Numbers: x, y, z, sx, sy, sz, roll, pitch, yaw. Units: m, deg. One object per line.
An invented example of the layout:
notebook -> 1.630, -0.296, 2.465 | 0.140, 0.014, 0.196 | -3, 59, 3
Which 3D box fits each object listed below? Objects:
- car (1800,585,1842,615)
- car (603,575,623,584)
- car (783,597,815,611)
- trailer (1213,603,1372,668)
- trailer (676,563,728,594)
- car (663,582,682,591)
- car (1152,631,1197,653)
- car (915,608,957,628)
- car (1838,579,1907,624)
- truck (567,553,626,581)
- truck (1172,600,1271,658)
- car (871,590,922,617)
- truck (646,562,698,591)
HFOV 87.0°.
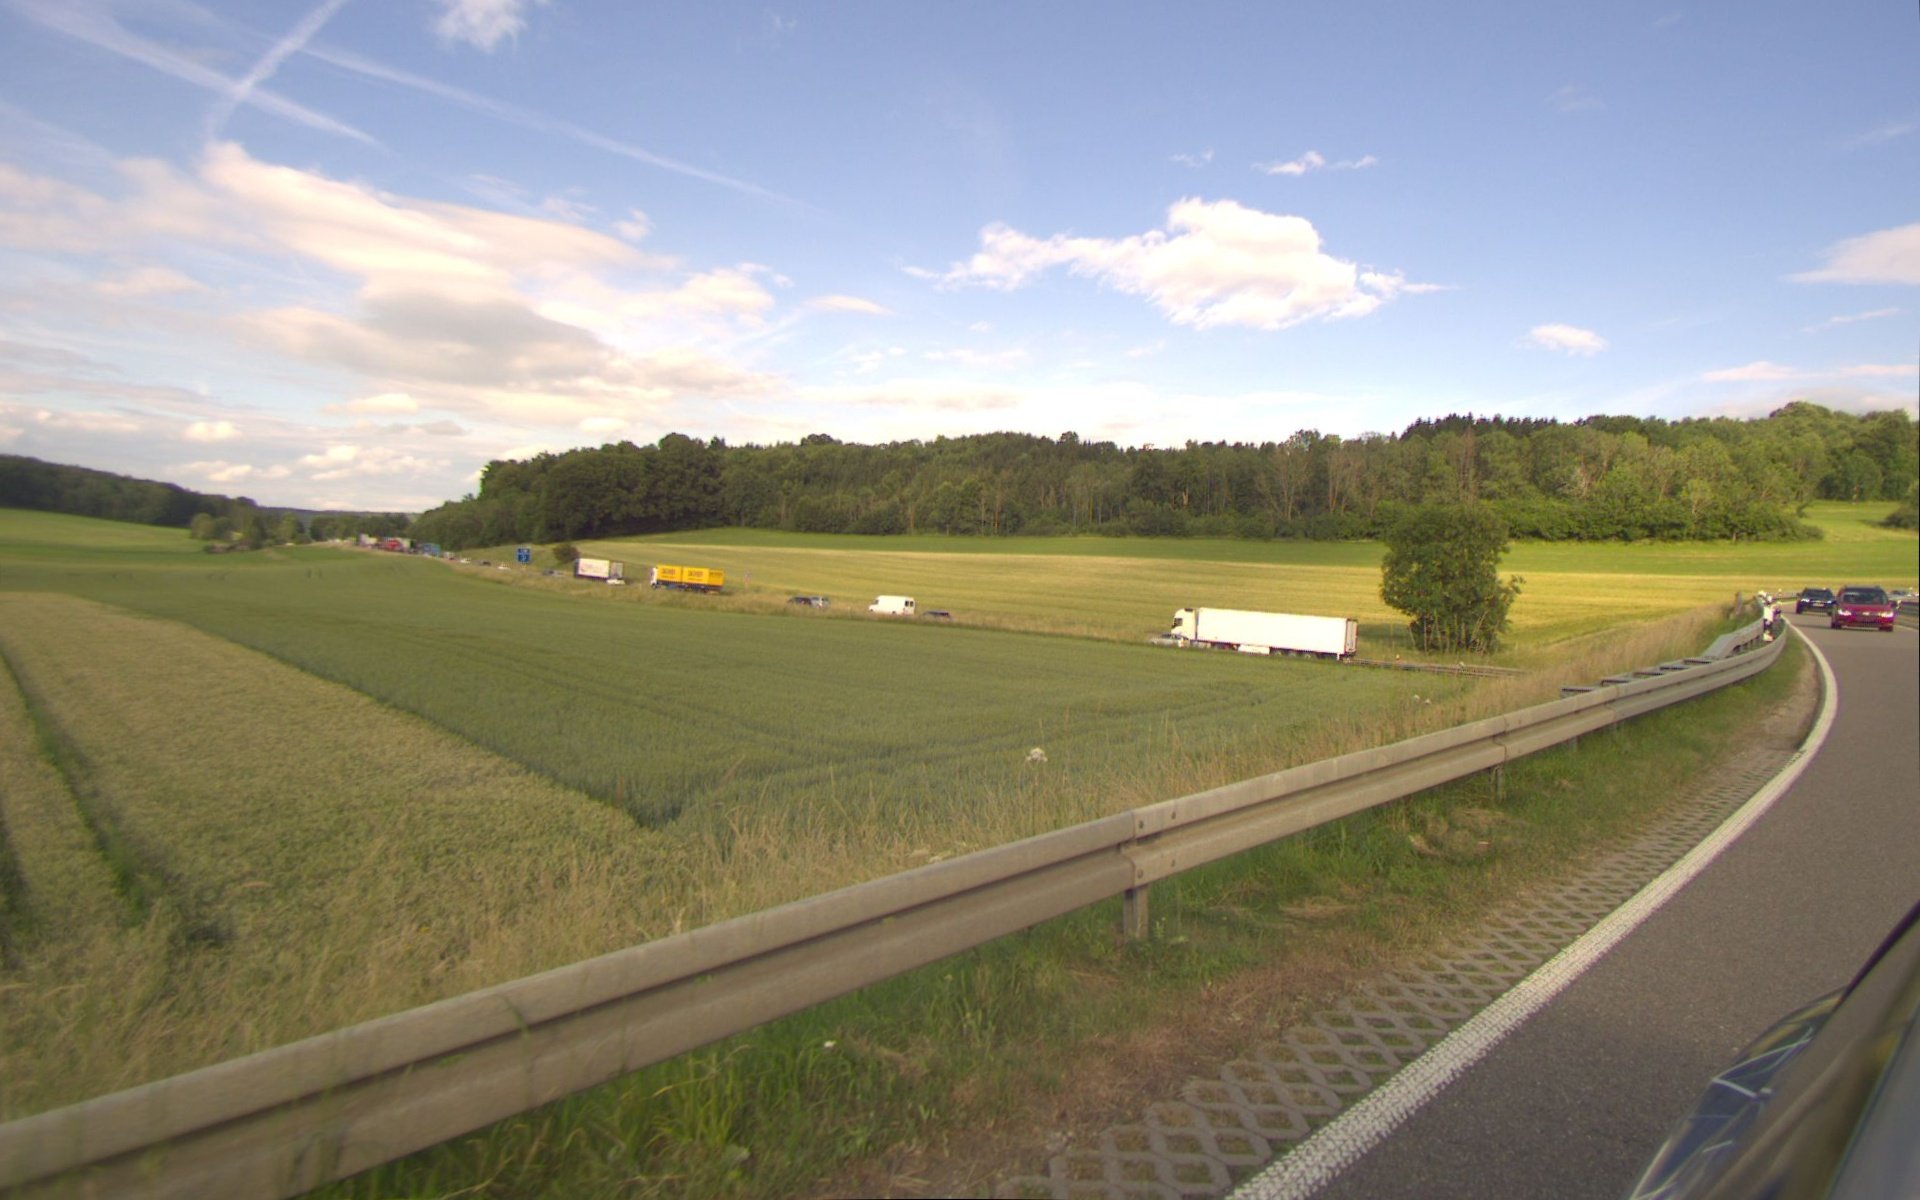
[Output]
car -> 53.132, -0.025, 62.416 | 1.816, 1.630, 3.941 | 6, 5, 41
car -> -54.679, -3.251, 159.556 | 3.315, 1.411, 1.584 | 3, 2, 42
car -> -19.605, 0.442, 123.216 | 3.985, 1.538, 1.658 | 3, 2, 42
trailer -> 28.386, 2.933, 87.234 | 12.681, 4.523, 2.986 | 5, 1, 42
trailer -> -38.643, -3.219, 151.373 | 3.774, 4.108, 9.113 | -3, 5, -43
car -> -41.370, -1.963, 145.551 | 3.090, 1.283, 1.357 | 3, 3, 44
car -> 18.720, 3.638, 88.398 | 3.452, 1.662, 1.737 | 1, 4, 41
car -> -2.510, 1.848, 106.459 | 4.355, 1.722, 1.753 | 5, 5, 40
car -> 36.816, 0.066, 40.916 | 1.814, 1.675, 3.943 | 3, 1, 39
truck -> -64.415, -5.864, 179.118 | 14.388, 4.042, 4.017 | 5, 8, 44
truck -> 23.561, 2.543, 91.489 | 8.026, 4.523, 2.984 | 5, 1, 41
car -> -7.613, 0.443, 120.147 | 6.104, 2.617, 2.336 | 5, 0, 43
truck -> -45.066, -3.762, 158.221 | 3.775, 4.108, 9.782 | -3, 6, -44
